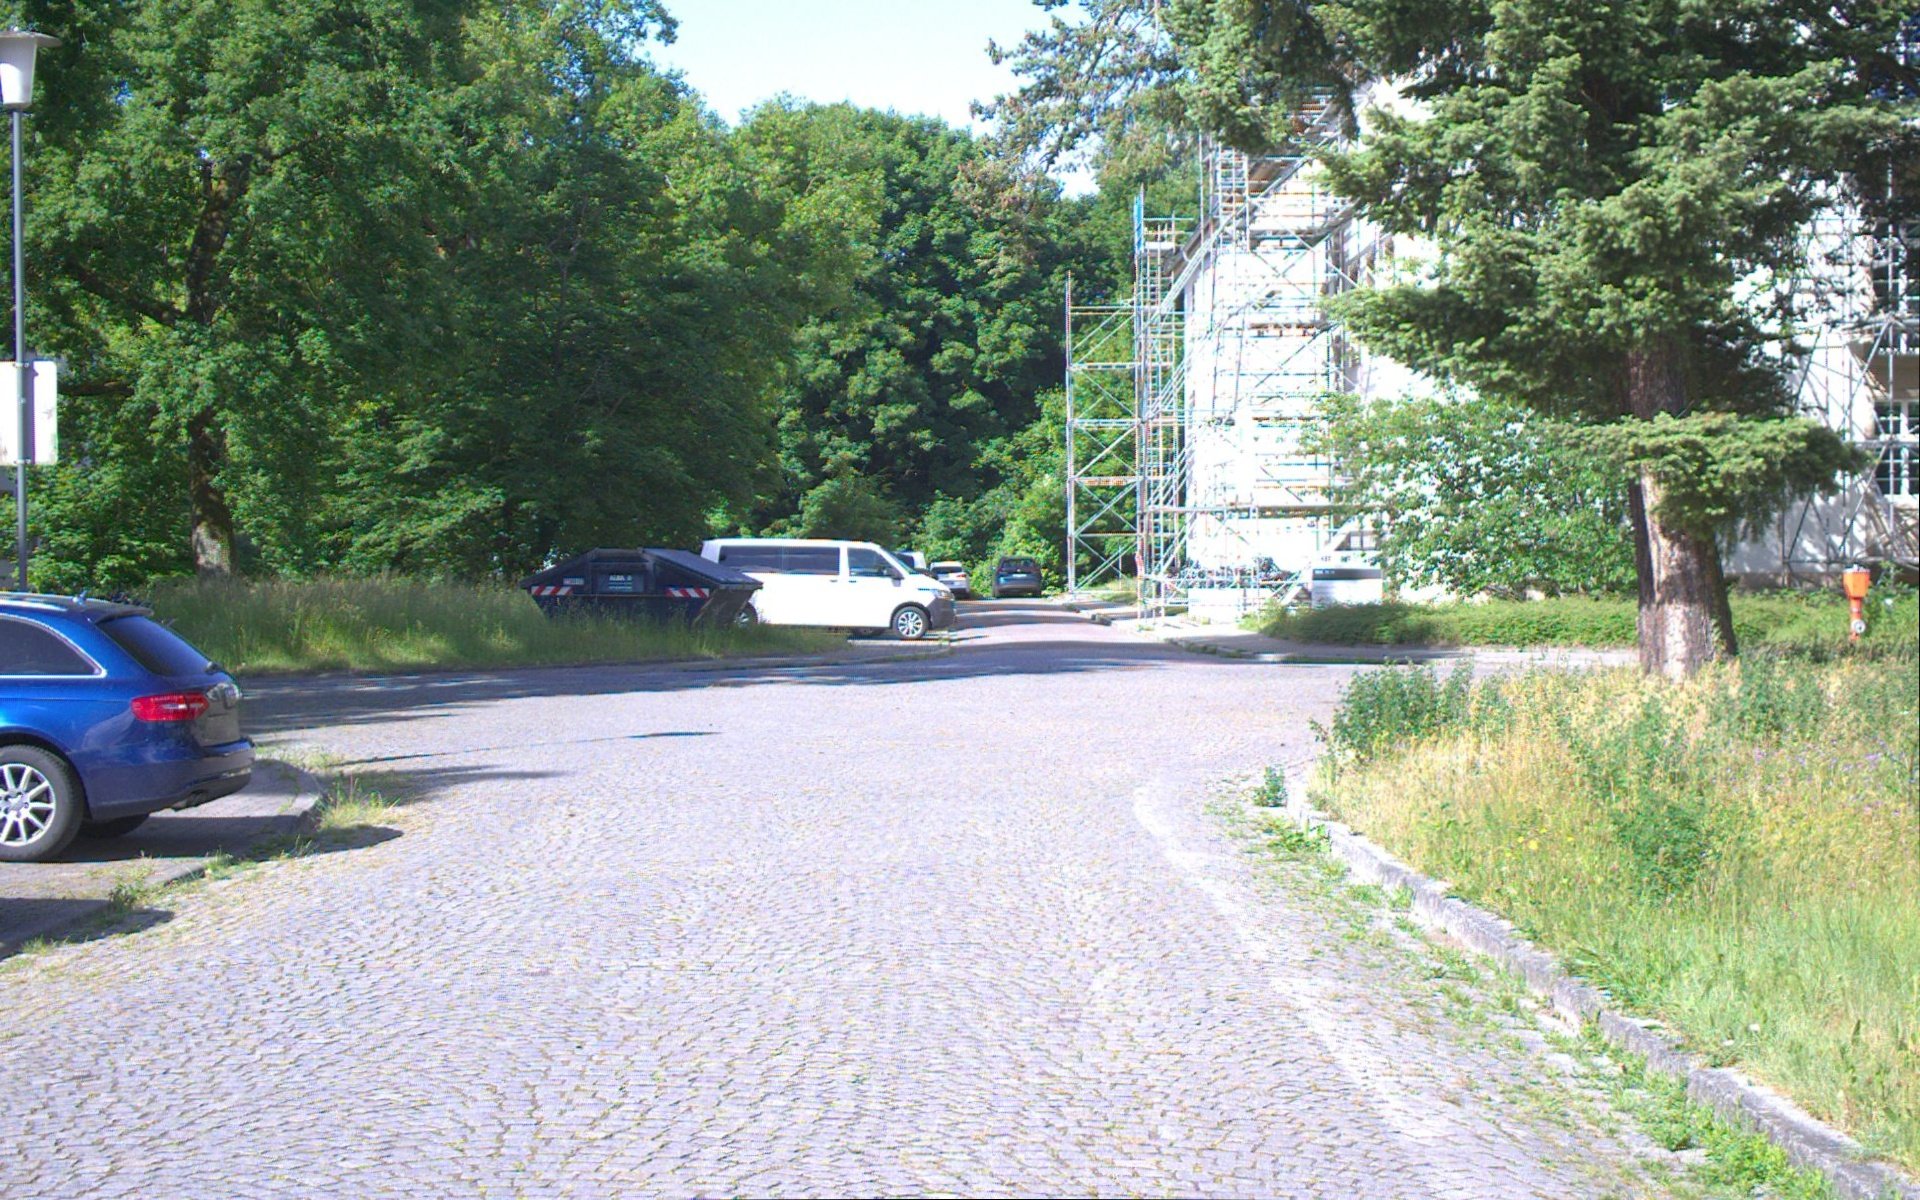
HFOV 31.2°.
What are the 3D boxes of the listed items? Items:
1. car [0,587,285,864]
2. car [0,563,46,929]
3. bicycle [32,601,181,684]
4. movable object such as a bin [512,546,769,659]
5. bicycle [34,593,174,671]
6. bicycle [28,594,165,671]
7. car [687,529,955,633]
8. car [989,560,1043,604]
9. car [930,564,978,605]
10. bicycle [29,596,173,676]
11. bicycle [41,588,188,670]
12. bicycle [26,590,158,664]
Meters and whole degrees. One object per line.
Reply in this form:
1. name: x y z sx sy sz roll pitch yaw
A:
1. car: -6.186 0.657 19.347 4.360 1.440 1.921 0 1 3
2. car: -6.213 0.630 14.664 4.135 1.574 1.884 0 1 0
3. bicycle: -11.865 0.582 47.809 1.913 1.054 0.476 -3 1 -29
4. movable object such as a bin: -5.106 0.041 55.127 3.569 1.739 2.023 -1 0 19
5. bicycle: -12.629 0.460 50.709 1.912 1.054 0.476 -3 1 -23
6. bicycle: -12.941 0.484 51.522 1.912 1.054 0.476 -3 1 -21
7. car: -2.721 -0.384 68.216 5.234 2.009 1.950 0 0 0
8. car: 2.167 -0.704 134.518 1.971 1.662 4.086 -1 0 -1
9. car: -0.236 -0.618 134.224 1.812 1.574 4.135 -1 0 -1
10. bicycle: -12.328 0.510 49.356 1.912 1.054 0.476 -3 1 -23
11. bicycle: -11.889 0.402 48.361 1.913 1.054 0.476 -3 1 -29
12. bicycle: -13.572 0.414 53.755 1.912 1.054 0.476 -3 1 -21
